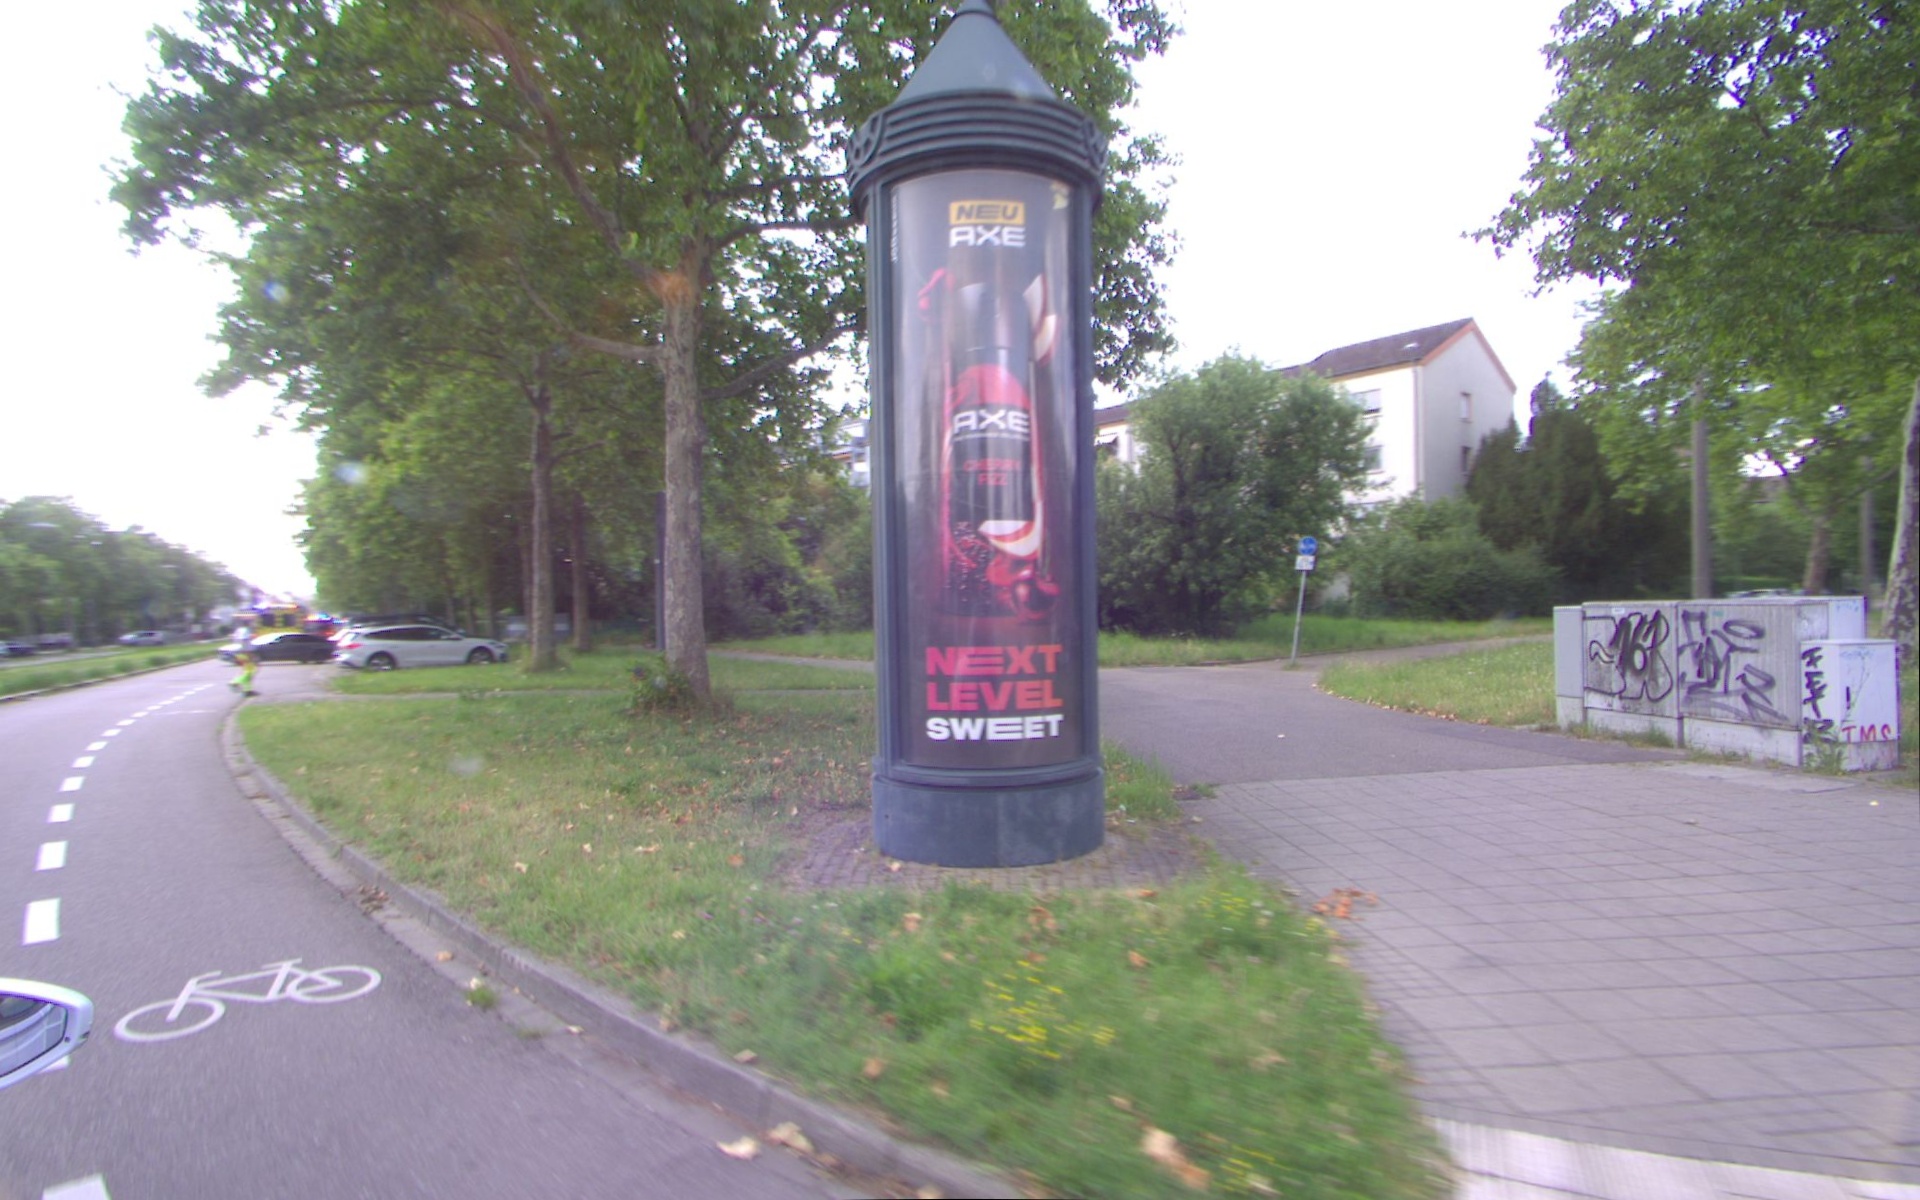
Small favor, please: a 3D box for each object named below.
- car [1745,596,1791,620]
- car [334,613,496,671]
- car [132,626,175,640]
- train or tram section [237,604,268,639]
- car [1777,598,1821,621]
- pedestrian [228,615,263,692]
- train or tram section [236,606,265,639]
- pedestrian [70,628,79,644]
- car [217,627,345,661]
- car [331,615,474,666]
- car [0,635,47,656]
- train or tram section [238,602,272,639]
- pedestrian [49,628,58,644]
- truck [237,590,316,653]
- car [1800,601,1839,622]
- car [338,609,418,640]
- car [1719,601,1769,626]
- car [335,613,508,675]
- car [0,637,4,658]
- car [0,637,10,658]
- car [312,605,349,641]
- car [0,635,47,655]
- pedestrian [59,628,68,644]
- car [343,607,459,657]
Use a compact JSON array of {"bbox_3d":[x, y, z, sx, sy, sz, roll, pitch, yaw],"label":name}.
[{"bbox_3d":[58.129,0.607,72.041,3.613,1.616,1.764,1,-2,-38],"label":"car"},{"bbox_3d":[-17.874,1.345,32.903,4.483,1.665,1.988,-1,-1,-34],"label":"car"},{"bbox_3d":[-104.925,4.285,130.239,1.793,1.861,3.987,-1,-2,27],"label":"car"},{"bbox_3d":[-76.916,2.330,108.813,2.465,3.644,7.367,-2,0,-37],"label":"train or tram section"},{"bbox_3d":[63.057,0.711,75.249,3.613,1.616,1.764,1,-2,-38],"label":"car"},{"bbox_3d":[-16.095,1.188,22.568,0.579,1.706,0.491,-1,-1,-32],"label":"pedestrian"},{"bbox_3d":[-81.292,2.553,114.692,2.465,3.644,7.367,-2,0,-37],"label":"train or tram section"},{"bbox_3d":[-97.348,3.970,110.139,0.614,1.751,0.643,1,-1,-32],"label":"pedestrian"},{"bbox_3d":[-31.354,2.002,46.365,1.817,1.411,4.577,-1,-1,36],"label":"car"},{"bbox_3d":[-20.682,1.488,37.221,4.483,1.665,1.988,-1,-1,-34],"label":"car"},{"bbox_3d":[-68.659,3.309,71.933,1.877,1.381,4.287,-1,0,36],"label":"car"},{"bbox_3d":[-72.519,2.110,102.931,2.465,3.644,7.366,-2,0,-37],"label":"train or tram section"},{"bbox_3d":[-98.460,3.923,108.783,0.614,1.751,0.643,1,-1,-32],"label":"pedestrian"},{"bbox_3d":[-39.217,1.219,57.719,3.148,3.361,7.484,-1,0,-30],"label":"truck"},{"bbox_3d":[70.415,0.940,82.036,3.613,1.616,1.764,1,-2,-38],"label":"car"},{"bbox_3d":[-64.614,2.782,111.183,7.370,3.372,2.954,1,-2,-37],"label":"car"},{"bbox_3d":[51.717,0.920,66.014,3.613,1.616,1.764,1,-2,-38],"label":"car"},{"bbox_3d":[-16.493,1.328,30.735,4.483,1.665,1.988,-1,-1,-34],"label":"car"},{"bbox_3d":[-66.069,3.236,65.880,1.877,1.381,4.287,-1,0,36],"label":"car"},{"bbox_3d":[-67.592,3.315,67.963,1.877,1.381,4.287,-1,0,36],"label":"car"},{"bbox_3d":[-61.338,2.290,97.517,2.936,3.372,7.416,1,-2,-33],"label":"car"},{"bbox_3d":[-71.825,3.440,75.336,1.877,1.381,4.287,-1,0,36],"label":"car"},{"bbox_3d":[-97.724,3.936,109.176,0.614,1.751,0.643,1,-1,-32],"label":"pedestrian"},{"bbox_3d":[-25.466,1.436,45.693,4.492,2.040,1.989,-1,-1,-31],"label":"car"}]
